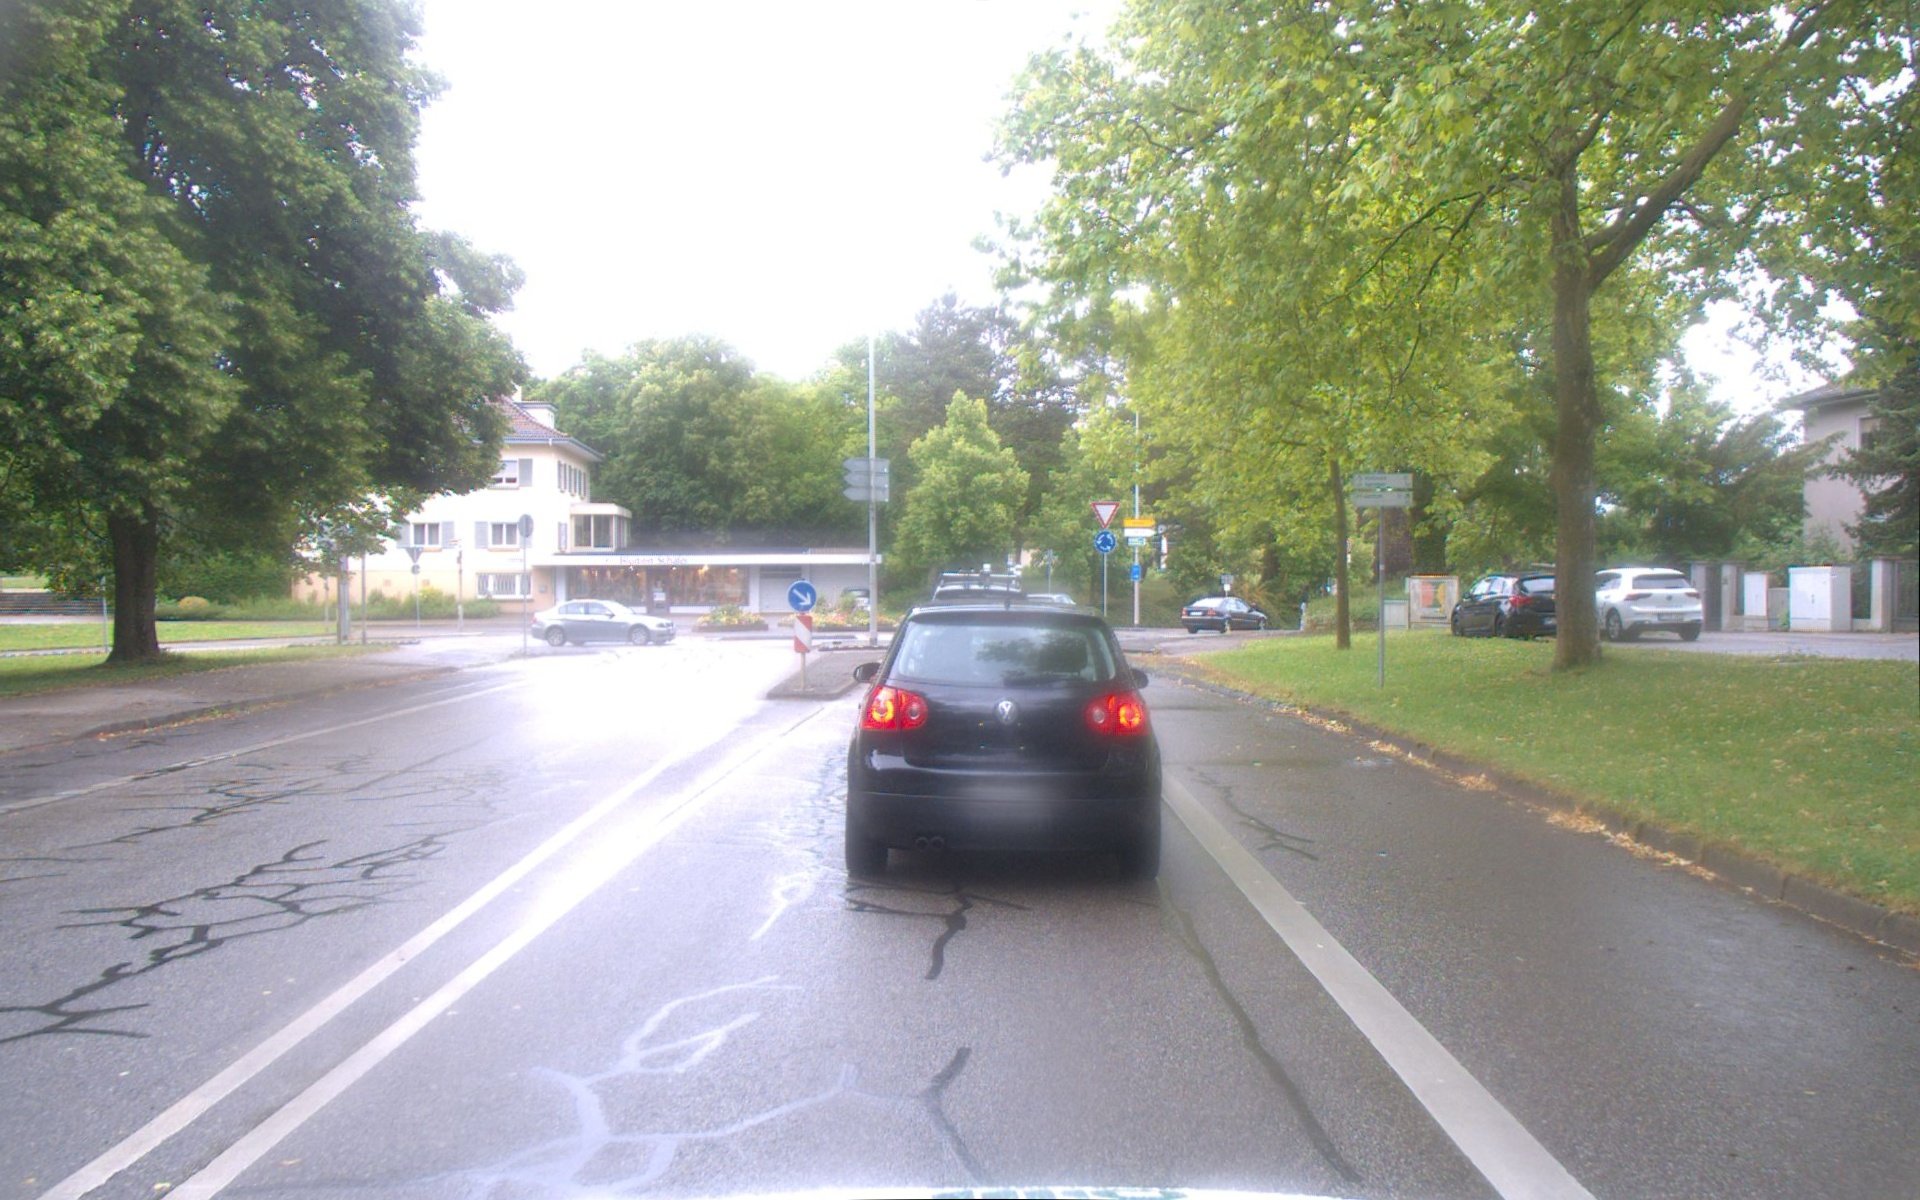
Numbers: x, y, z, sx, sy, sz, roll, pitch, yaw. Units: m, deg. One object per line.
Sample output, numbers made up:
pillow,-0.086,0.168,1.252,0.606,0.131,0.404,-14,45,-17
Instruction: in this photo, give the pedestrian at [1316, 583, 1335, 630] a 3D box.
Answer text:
pedestrian,13.616,0.248,61.580,0.620,1.743,0.530,1,-1,16

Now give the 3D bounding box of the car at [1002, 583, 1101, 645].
car,2.818,0.415,50.110,1.952,1.772,4.145,1,0,18

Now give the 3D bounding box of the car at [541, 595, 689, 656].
car,-10.525,0.762,50.542,3.934,1.713,2.002,-1,0,9

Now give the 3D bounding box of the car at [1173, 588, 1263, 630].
car,10.045,0.357,64.149,1.959,1.557,3.988,1,0,34

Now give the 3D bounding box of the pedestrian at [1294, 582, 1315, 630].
pedestrian,12.664,0.218,60.775,0.519,1.743,0.633,1,-1,-15

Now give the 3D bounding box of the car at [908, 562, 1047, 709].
car,0.170,0.456,23.227,1.729,1.833,4.245,-1,0,-2

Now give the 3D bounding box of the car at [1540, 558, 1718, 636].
car,14.112,-0.059,35.165,1.808,1.497,4.423,-2,0,-2

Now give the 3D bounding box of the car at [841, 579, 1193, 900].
car,0.237,0.705,10.235,1.729,1.565,3.999,1,0,-2

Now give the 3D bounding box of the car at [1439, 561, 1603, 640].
car,11.709,0.015,34.857,1.729,1.497,4.596,-2,0,-2

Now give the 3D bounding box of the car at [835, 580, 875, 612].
car,-5.297,-0.202,83.021,1.778,1.512,3.825,-1,1,-7
